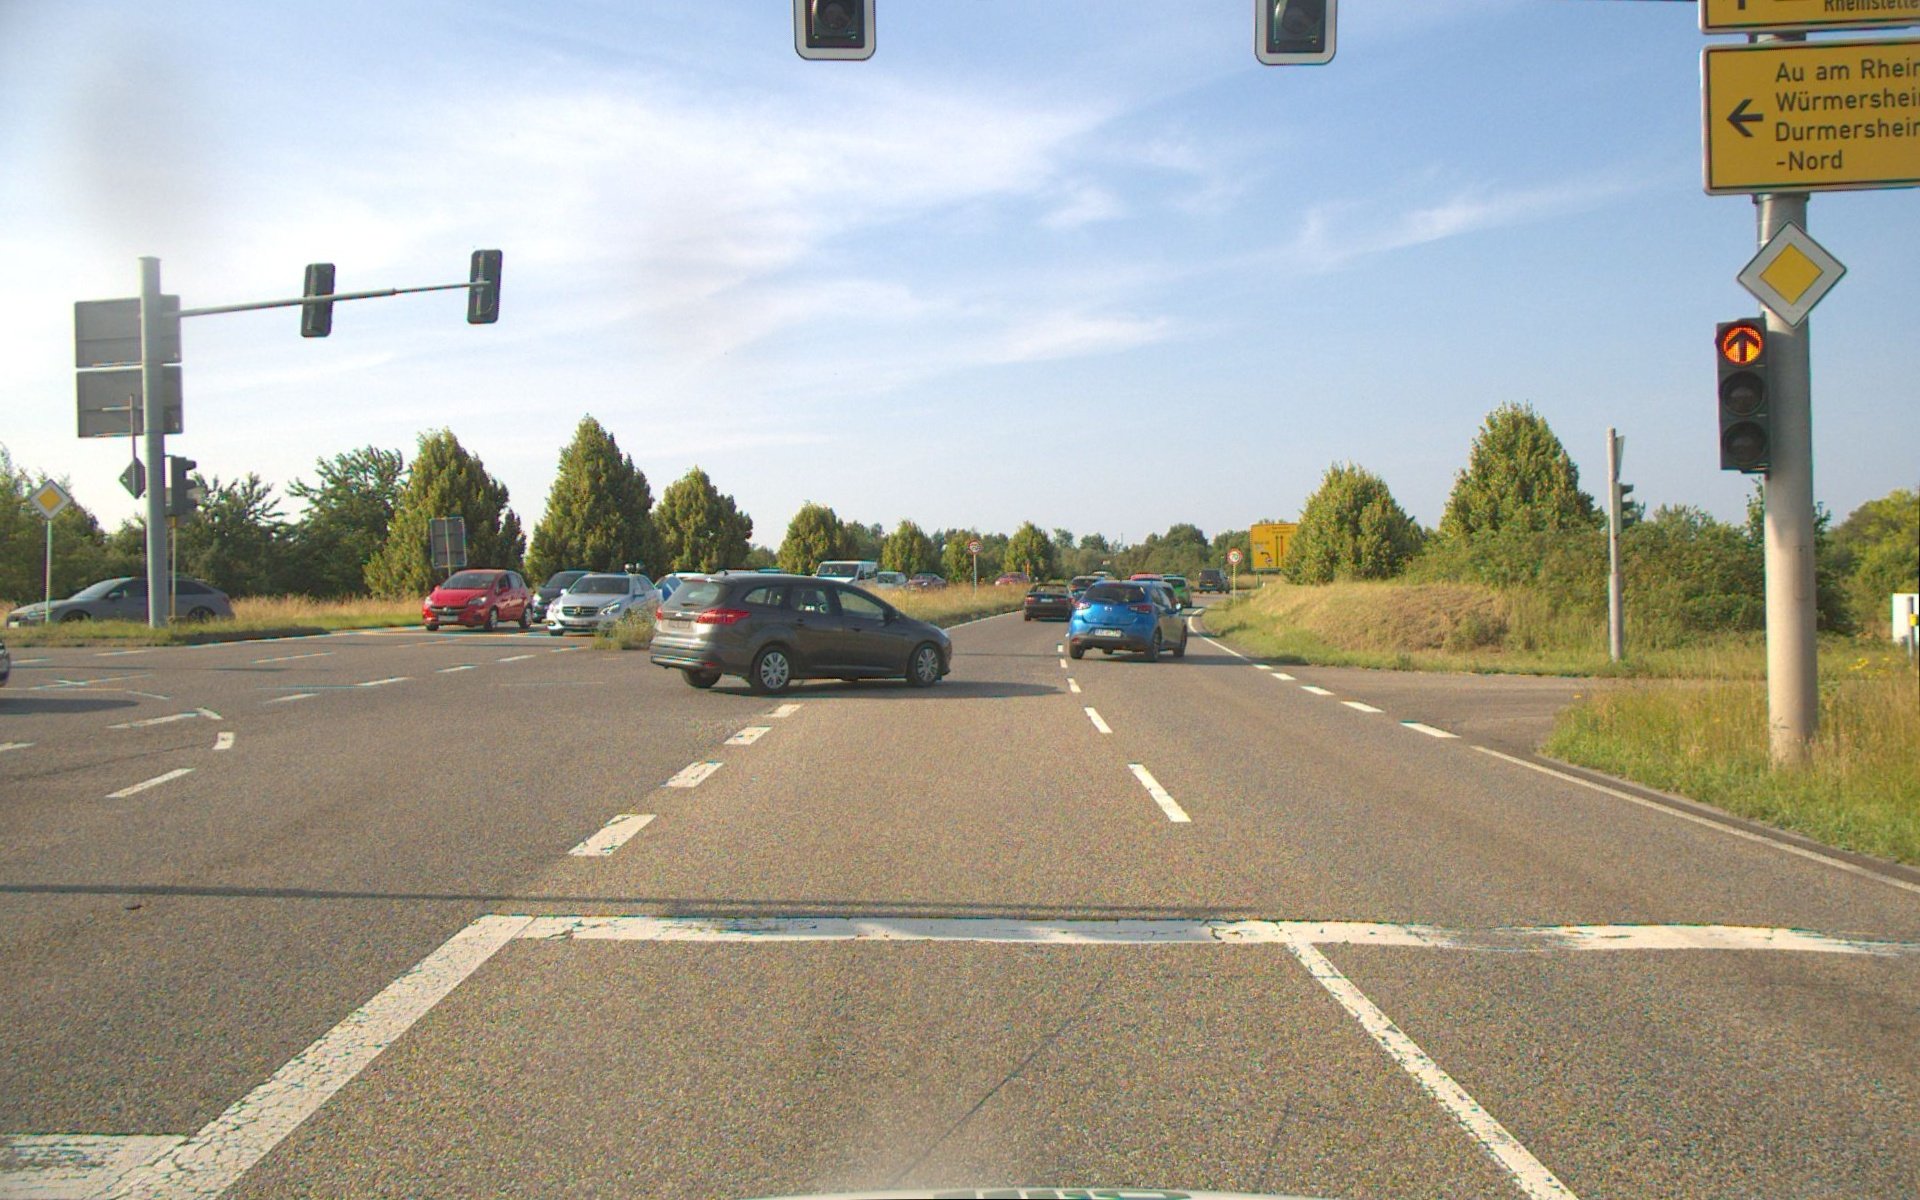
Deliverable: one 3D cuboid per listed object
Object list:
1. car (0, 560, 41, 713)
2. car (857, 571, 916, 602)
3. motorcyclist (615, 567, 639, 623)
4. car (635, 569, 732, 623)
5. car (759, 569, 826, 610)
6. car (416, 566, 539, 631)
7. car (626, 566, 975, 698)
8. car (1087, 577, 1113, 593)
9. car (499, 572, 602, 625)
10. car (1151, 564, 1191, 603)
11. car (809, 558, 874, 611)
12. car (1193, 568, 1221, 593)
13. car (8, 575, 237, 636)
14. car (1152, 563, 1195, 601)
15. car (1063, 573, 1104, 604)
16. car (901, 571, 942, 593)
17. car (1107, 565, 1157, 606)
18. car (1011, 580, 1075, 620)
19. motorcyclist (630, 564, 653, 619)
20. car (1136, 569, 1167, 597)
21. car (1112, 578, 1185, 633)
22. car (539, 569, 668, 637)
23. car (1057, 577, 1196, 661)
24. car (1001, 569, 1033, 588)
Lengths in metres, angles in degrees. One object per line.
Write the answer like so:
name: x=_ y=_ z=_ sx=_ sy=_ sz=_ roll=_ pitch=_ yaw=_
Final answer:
car: x=-12.242 y=0.371 z=17.373 sx=4.104 sy=1.633 sz=1.787 roll=1 pitch=-1 yaw=-9
car: x=-3.438 y=-0.653 z=77.984 sx=1.748 sy=1.410 sz=4.055 roll=0 pitch=1 yaw=13
motorcyclist: x=-10.709 y=-0.158 z=53.204 sx=0.649 sy=1.778 sz=0.605 roll=0 pitch=0 yaw=-3
car: x=-7.864 y=-0.132 z=47.405 sx=1.748 sy=1.458 sz=4.311 roll=0 pitch=1 yaw=4
car: x=-5.999 y=-0.381 z=59.680 sx=1.748 sy=1.410 sz=4.053 roll=0 pitch=1 yaw=4
car: x=-11.971 y=-0.057 z=41.259 sx=1.684 sy=1.514 sz=3.807 roll=0 pitch=1 yaw=5
car: x=-2.042 y=0.375 z=22.094 sx=4.492 sy=1.593 sz=1.788 roll=0 pitch=0 yaw=-42
car: x=12.443 y=-1.370 z=147.085 sx=1.748 sy=1.410 sz=4.055 roll=0 pitch=1 yaw=13
car: x=-11.880 y=-0.064 z=48.218 sx=1.748 sy=1.458 sz=4.053 roll=0 pitch=1 yaw=4
car: x=10.373 y=-0.776 z=81.231 sx=1.868 sy=1.831 sz=4.281 roll=0 pitch=-1 yaw=7
car: x=-4.909 y=-0.648 z=69.005 sx=1.884 sy=2.114 sz=4.247 roll=0 pitch=1 yaw=7
car: x=18.467 y=-1.473 z=123.816 sx=1.868 sy=1.764 sz=4.280 roll=0 pitch=-1 yaw=5
car: x=-19.390 y=0.096 z=38.499 sx=1.412 sy=1.315 sz=4.657 roll=0 pitch=1 yaw=34
car: x=11.436 y=-0.935 z=88.856 sx=1.869 sy=1.949 sz=4.278 roll=0 pitch=-1 yaw=2
car: x=5.876 y=-0.523 z=78.382 sx=1.797 sy=1.401 sz=4.281 roll=0 pitch=-1 yaw=7
car: x=-2.497 y=-1.218 z=109.428 sx=1.748 sy=1.410 sz=4.055 roll=0 pitch=1 yaw=13
car: x=7.020 y=-0.562 z=67.733 sx=1.855 sy=1.592 sz=4.280 roll=0 pitch=-1 yaw=4
car: x=2.934 y=0.016 z=57.754 sx=1.868 sy=1.346 sz=4.281 roll=0 pitch=-1 yaw=7
motorcyclist: x=-10.795 y=-0.300 z=56.059 sx=0.649 sy=1.848 sz=0.605 roll=0 pitch=0 yaw=-3
car: x=12.337 y=-1.076 z=106.750 sx=1.868 sy=1.764 sz=4.280 roll=0 pitch=-1 yaw=5
car: x=5.216 y=0.166 z=46.071 sx=1.874 sy=1.440 sz=3.797 roll=0 pitch=-1 yaw=4
car: x=-8.378 y=0.043 z=39.251 sx=1.748 sy=1.514 sz=4.654 roll=0 pitch=1 yaw=4
car: x=3.295 y=0.320 z=32.098 sx=1.736 sy=1.518 sz=3.986 roll=0 pitch=1 yaw=20
car: x=4.408 y=-1.675 z=127.058 sx=1.748 sy=1.410 sz=4.055 roll=0 pitch=1 yaw=13
